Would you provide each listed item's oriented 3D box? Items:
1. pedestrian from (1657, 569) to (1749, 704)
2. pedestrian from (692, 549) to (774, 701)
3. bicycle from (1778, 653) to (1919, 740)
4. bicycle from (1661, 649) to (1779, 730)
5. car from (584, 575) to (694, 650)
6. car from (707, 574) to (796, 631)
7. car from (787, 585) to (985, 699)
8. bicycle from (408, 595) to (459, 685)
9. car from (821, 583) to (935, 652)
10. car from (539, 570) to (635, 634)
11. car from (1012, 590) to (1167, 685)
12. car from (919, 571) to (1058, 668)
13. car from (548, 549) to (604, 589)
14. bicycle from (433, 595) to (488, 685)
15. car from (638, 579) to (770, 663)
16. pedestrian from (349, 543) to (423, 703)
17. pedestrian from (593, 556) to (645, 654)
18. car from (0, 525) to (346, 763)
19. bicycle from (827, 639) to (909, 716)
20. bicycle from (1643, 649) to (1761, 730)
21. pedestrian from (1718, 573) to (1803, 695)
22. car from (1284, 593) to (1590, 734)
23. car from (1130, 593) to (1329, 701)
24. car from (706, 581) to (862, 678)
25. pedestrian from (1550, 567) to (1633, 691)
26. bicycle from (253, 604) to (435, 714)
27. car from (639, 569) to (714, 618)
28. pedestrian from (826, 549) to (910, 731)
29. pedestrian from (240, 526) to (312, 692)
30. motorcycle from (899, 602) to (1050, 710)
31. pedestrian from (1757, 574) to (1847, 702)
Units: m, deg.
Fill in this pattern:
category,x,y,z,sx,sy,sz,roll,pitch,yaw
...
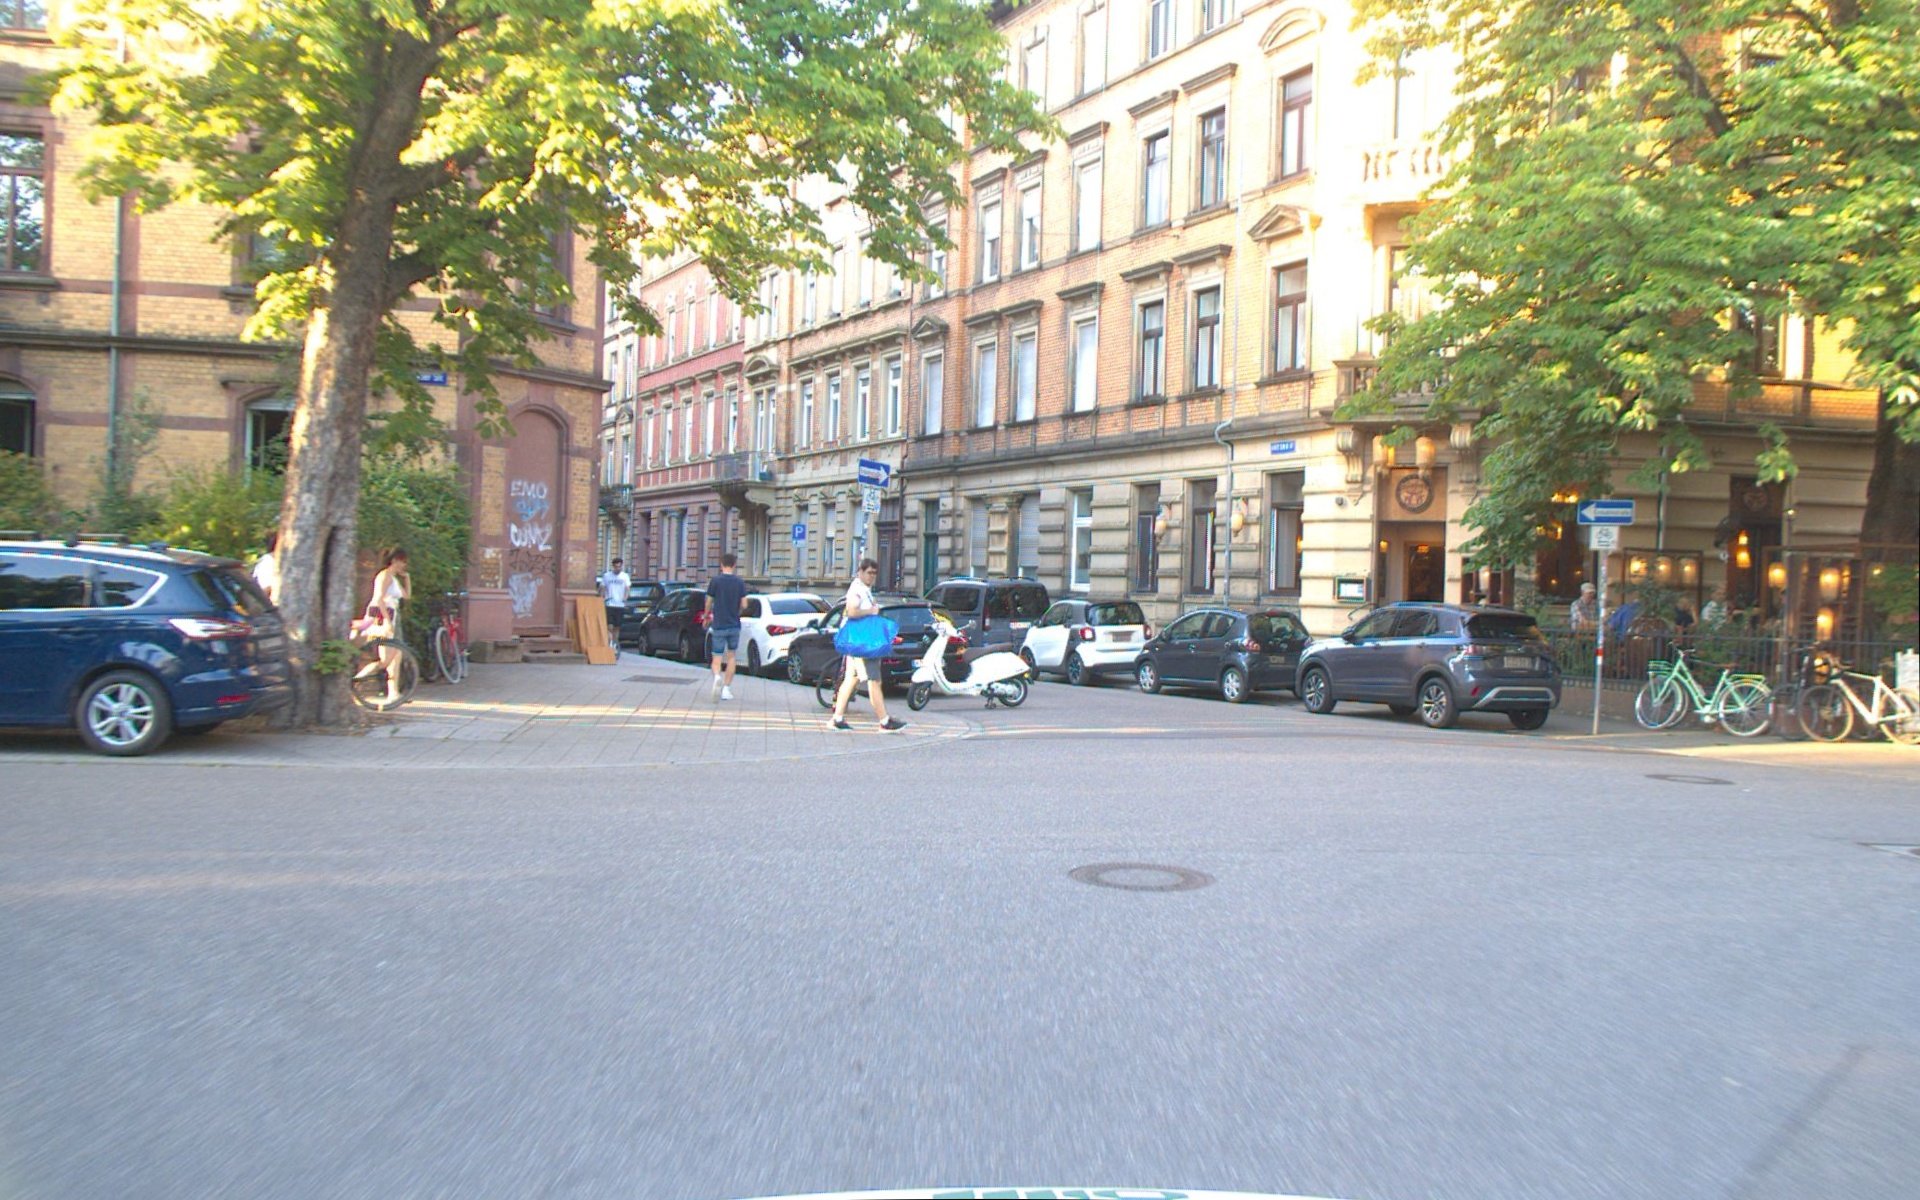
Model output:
category,x,y,z,sx,sy,sz,roll,pitch,yaw
pedestrian,10.410,0.506,23.199,0.761,1.835,0.839,2,1,-16
pedestrian,-2.854,0.299,20.719,0.725,1.835,1.115,2,1,-22
bicycle,11.039,1.189,20.527,1.537,0.973,0.320,2,1,10
bicycle,9.864,1.147,21.499,0.317,0.930,1.343,1,2,-43
car,-7.690,0.264,39.381,1.634,1.551,3.866,2,2,-25
car,-6.051,0.055,47.758,1.654,1.456,2.991,2,1,-25
car,-1.228,0.595,25.522,1.634,1.455,3.960,2,2,-25
bicycle,-6.621,0.480,20.844,0.237,1.046,1.675,2,1,-6
car,-1.984,0.400,39.181,1.654,1.456,2.991,2,1,-25
car,-9.851,0.020,43.508,1.634,1.455,3.866,2,2,-25
car,2.348,0.663,30.531,1.654,1.552,2.745,2,1,-25
car,0.543,0.368,33.977,1.654,1.813,2.991,2,1,-25
car,-15.970,-1.304,68.717,1.654,1.565,2.991,2,1,-25
bicycle,-6.317,0.482,20.971,0.312,1.046,1.675,2,1,-6
car,-5.337,0.397,34.126,1.634,1.455,3.866,2,2,-25
pedestrian,-6.134,0.233,17.696,0.532,1.663,0.761,2,1,-6
pedestrian,-6.587,0.093,31.923,0.828,1.835,0.771,2,1,-22
car,-7.866,0.273,13.814,4.738,1.762,1.918,3,1,-8
bicycle,-1.091,0.916,19.953,0.416,0.836,1.462,2,1,20
bicycle,9.546,1.140,21.314,0.317,0.930,1.343,1,2,-43
pedestrian,12.405,0.521,25.650,0.761,1.835,0.839,2,1,-16
car,6.383,0.808,22.564,1.890,1.552,3.866,2,2,-25
car,4.345,0.730,27.052,1.654,1.552,3.218,1,1,-25
car,-3.260,0.489,29.896,1.632,1.455,4.138,2,1,-23
pedestrian,9.606,0.431,25.172,0.828,1.835,0.771,2,1,-22
bicycle,-6.135,0.590,16.494,1.651,1.046,0.442,1,1,-26
car,-9.320,-0.215,54.326,1.654,1.456,2.991,2,1,-25
pedestrian,-0.992,0.410,17.665,0.799,1.884,0.802,2,1,-6
pedestrian,-6.977,0.085,16.893,0.532,1.663,0.447,2,1,-6
motorcycle,0.192,0.741,22.101,1.897,1.364,0.576,2,1,-12
pedestrian,12.433,0.550,24.431,0.761,1.835,0.839,2,1,-16
